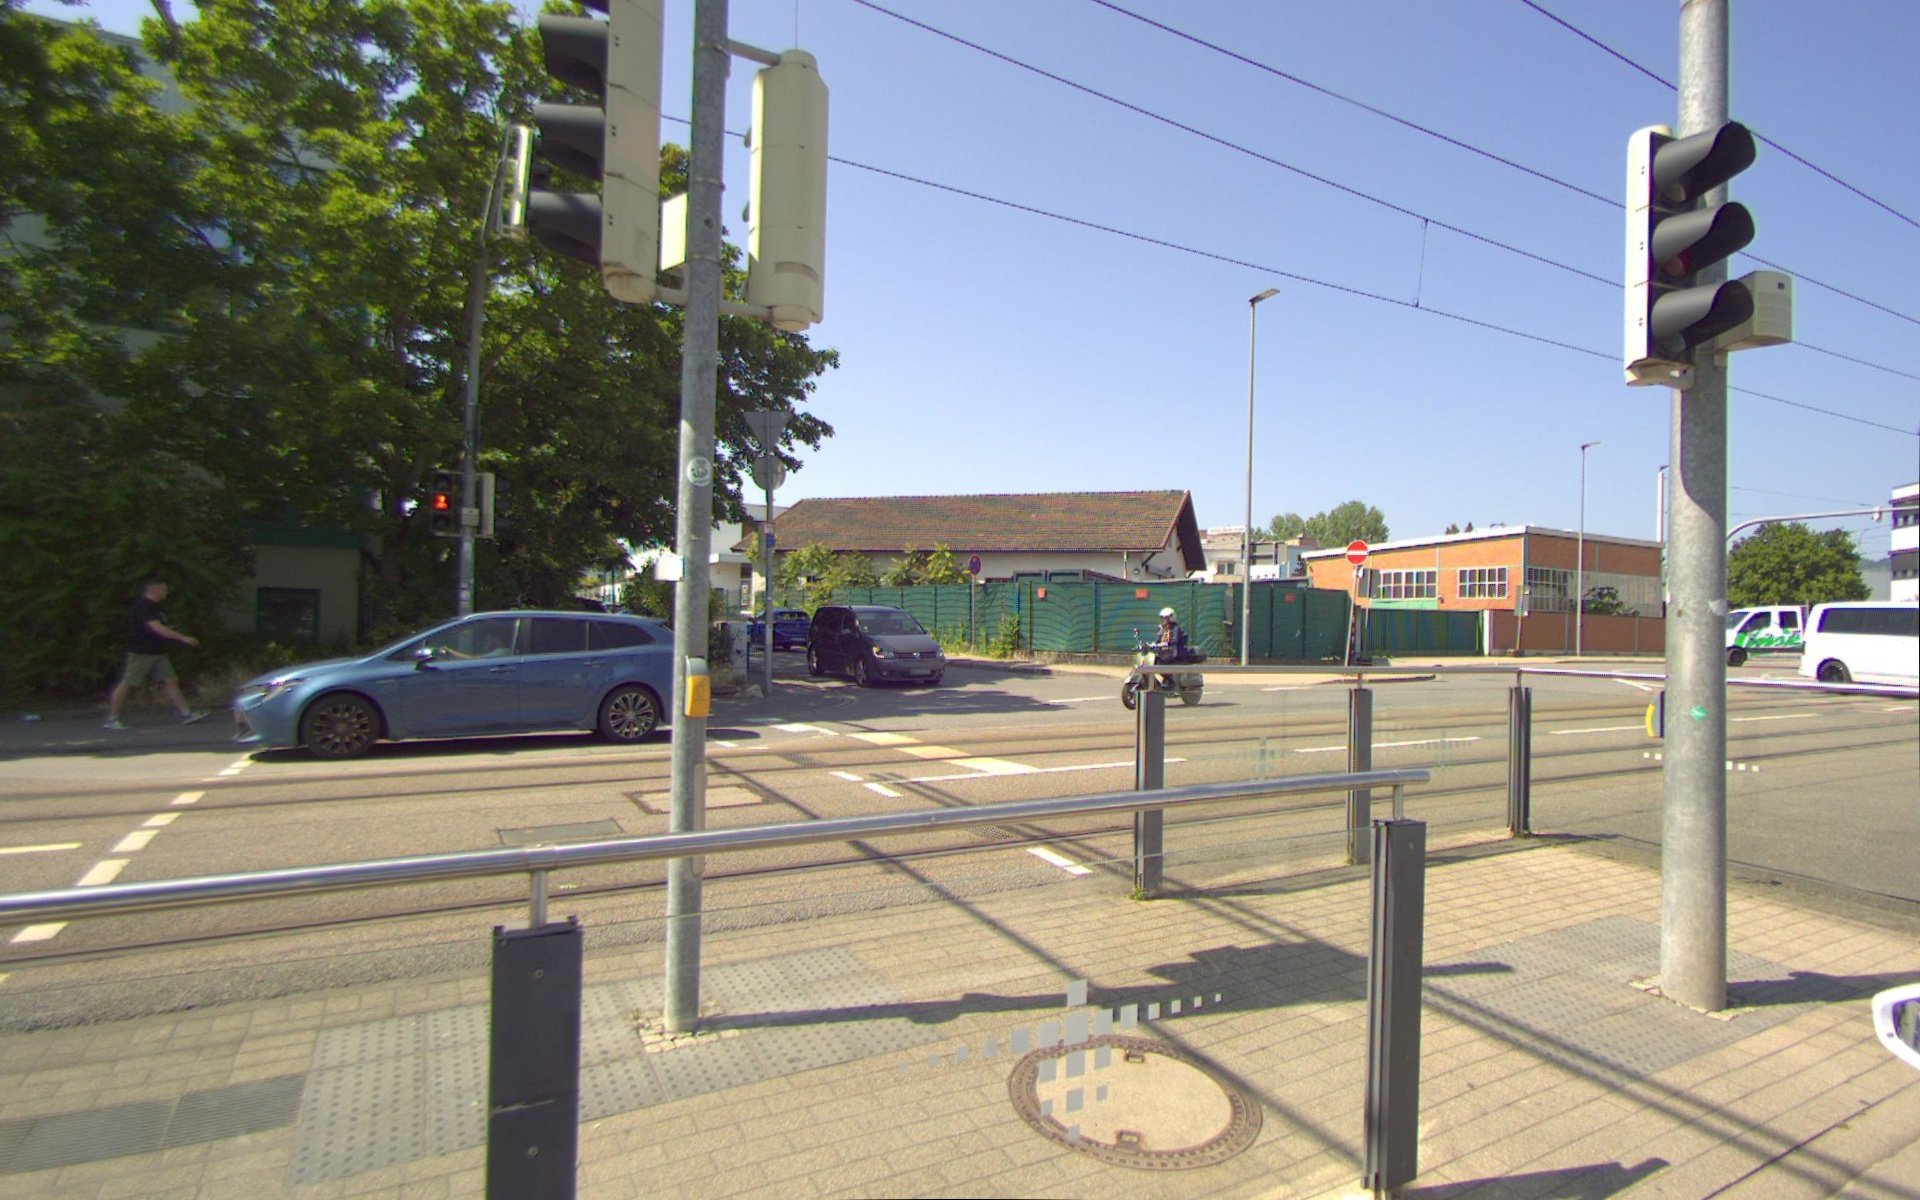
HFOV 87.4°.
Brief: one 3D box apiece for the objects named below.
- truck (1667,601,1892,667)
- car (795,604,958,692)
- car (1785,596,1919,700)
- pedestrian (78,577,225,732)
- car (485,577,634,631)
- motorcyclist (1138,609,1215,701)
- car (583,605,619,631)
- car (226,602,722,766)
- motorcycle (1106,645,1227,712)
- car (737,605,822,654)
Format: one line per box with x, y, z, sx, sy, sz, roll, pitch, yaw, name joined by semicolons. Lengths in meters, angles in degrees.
31.012;1.250;38.298;6.261;2.368;2.210;0;-1;17;truck
-1.885;0.934;21.400;1.910;1.604;4.159;1;0;-29;car
19.851;0.972;20.258;2.127;2.040;5.016;1;-1;-4;car
-9.354;0.624;11.684;1.146;1.692;0.882;2;-2;-30;pedestrian
-11.866;0.156;29.948;1.600;1.486;3.852;0;-1;37;car
3.645;0.907;16.908;0.952;1.495;0.831;1;-1;-31;motorcyclist
-23.643;1.160;66.086;1.783;1.623;3.972;1;-1;-27;car
-5.109;0.834;10.999;4.544;1.461;1.897;1;-3;-32;car
3.462;1.285;16.783;1.941;1.024;0.818;1;-1;-30;motorcycle
-6.228;0.992;34.352;1.782;1.557;4.135;1;-1;-26;car
